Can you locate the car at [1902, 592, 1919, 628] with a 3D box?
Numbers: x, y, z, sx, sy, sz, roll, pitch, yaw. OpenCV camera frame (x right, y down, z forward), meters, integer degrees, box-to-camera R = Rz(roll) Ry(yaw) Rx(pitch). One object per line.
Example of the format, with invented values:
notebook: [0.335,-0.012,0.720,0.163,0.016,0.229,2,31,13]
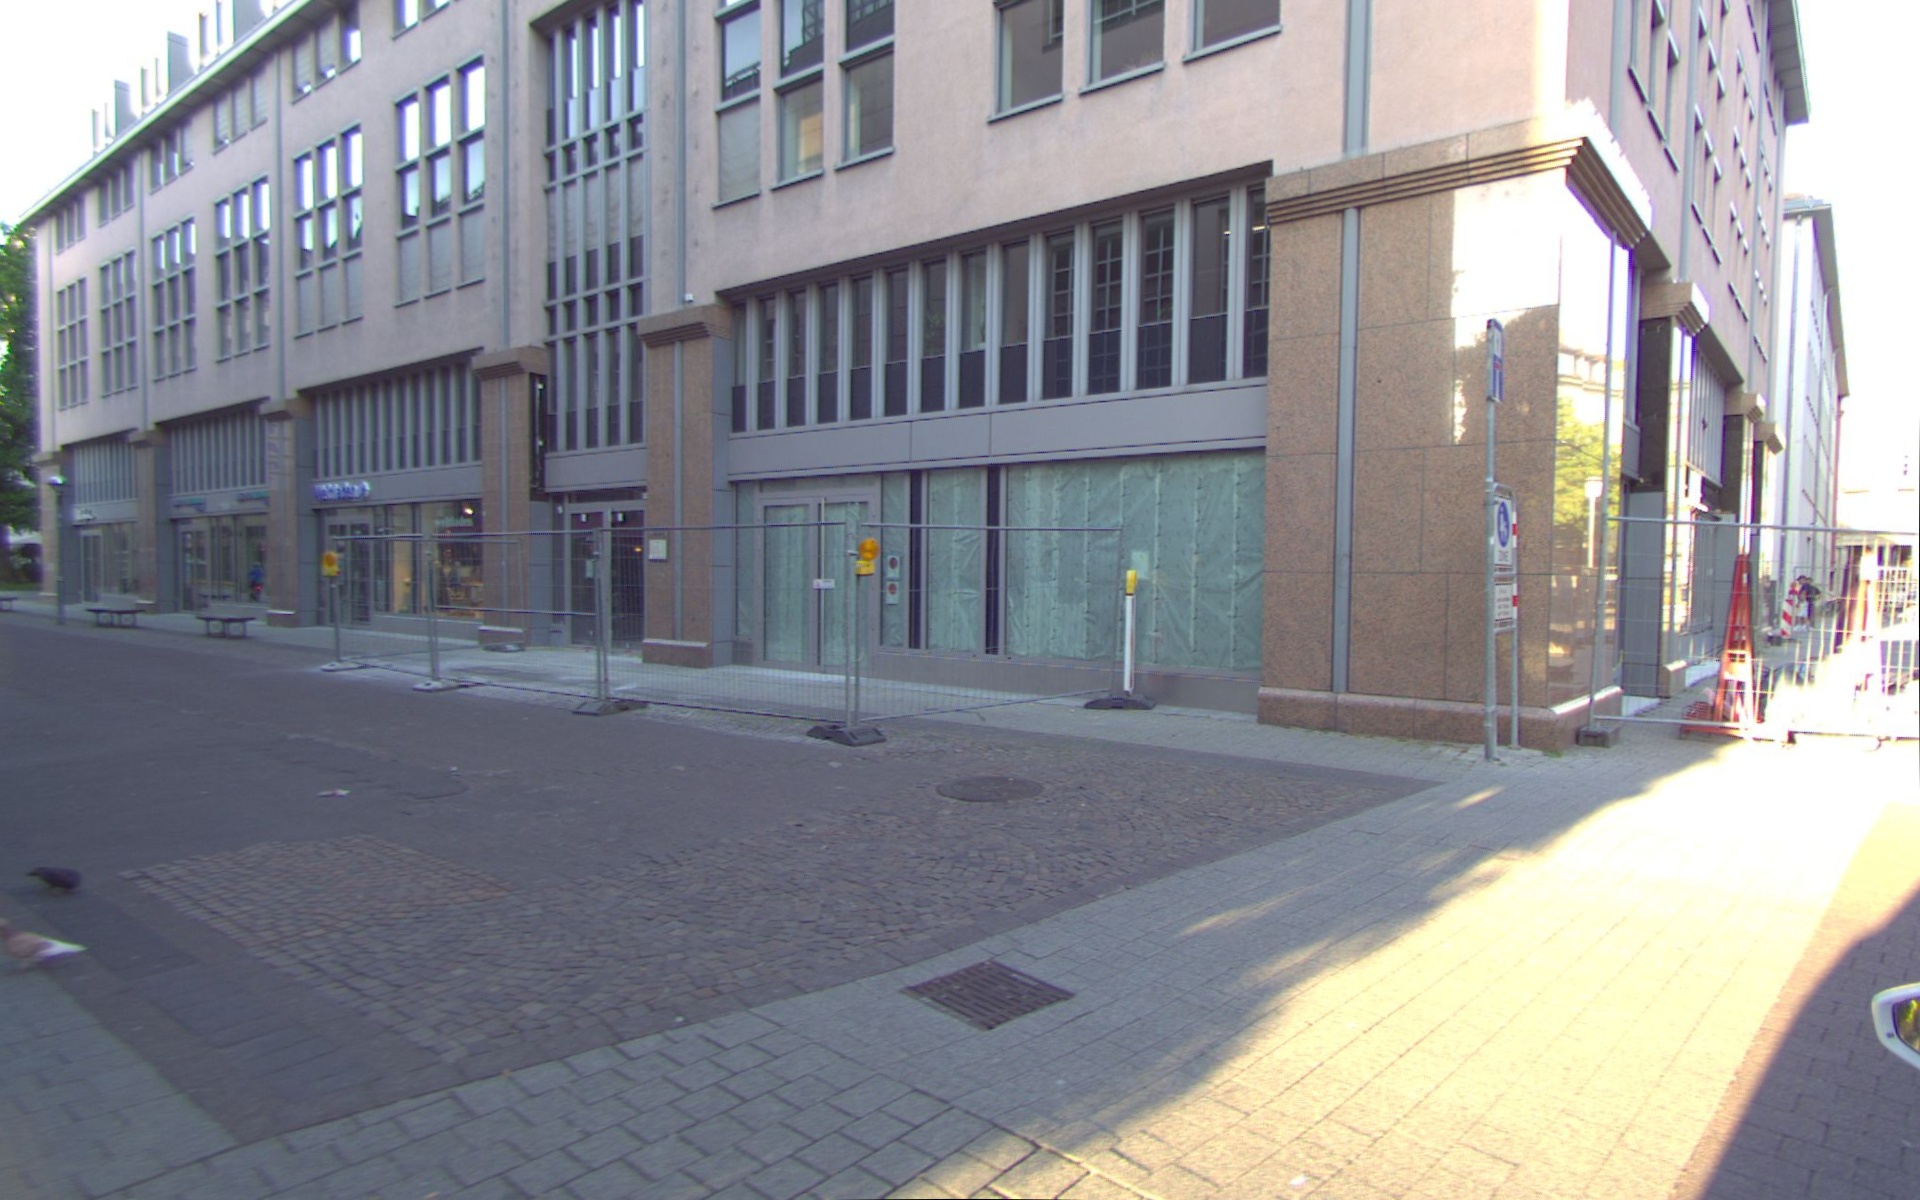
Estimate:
car: [46.691,0.478,48.306,1.820,1.706,3.627,2,1,40]

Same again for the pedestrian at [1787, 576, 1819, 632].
pedestrian: [26.930,0.120,32.078,0.629,1.787,0.649,0,2,-40]

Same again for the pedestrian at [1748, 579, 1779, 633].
pedestrian: [26.261,0.186,32.848,0.629,1.749,0.649,0,2,-40]

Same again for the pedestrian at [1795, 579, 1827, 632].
pedestrian: [27.409,0.175,32.352,0.629,1.674,0.649,0,2,-40]
